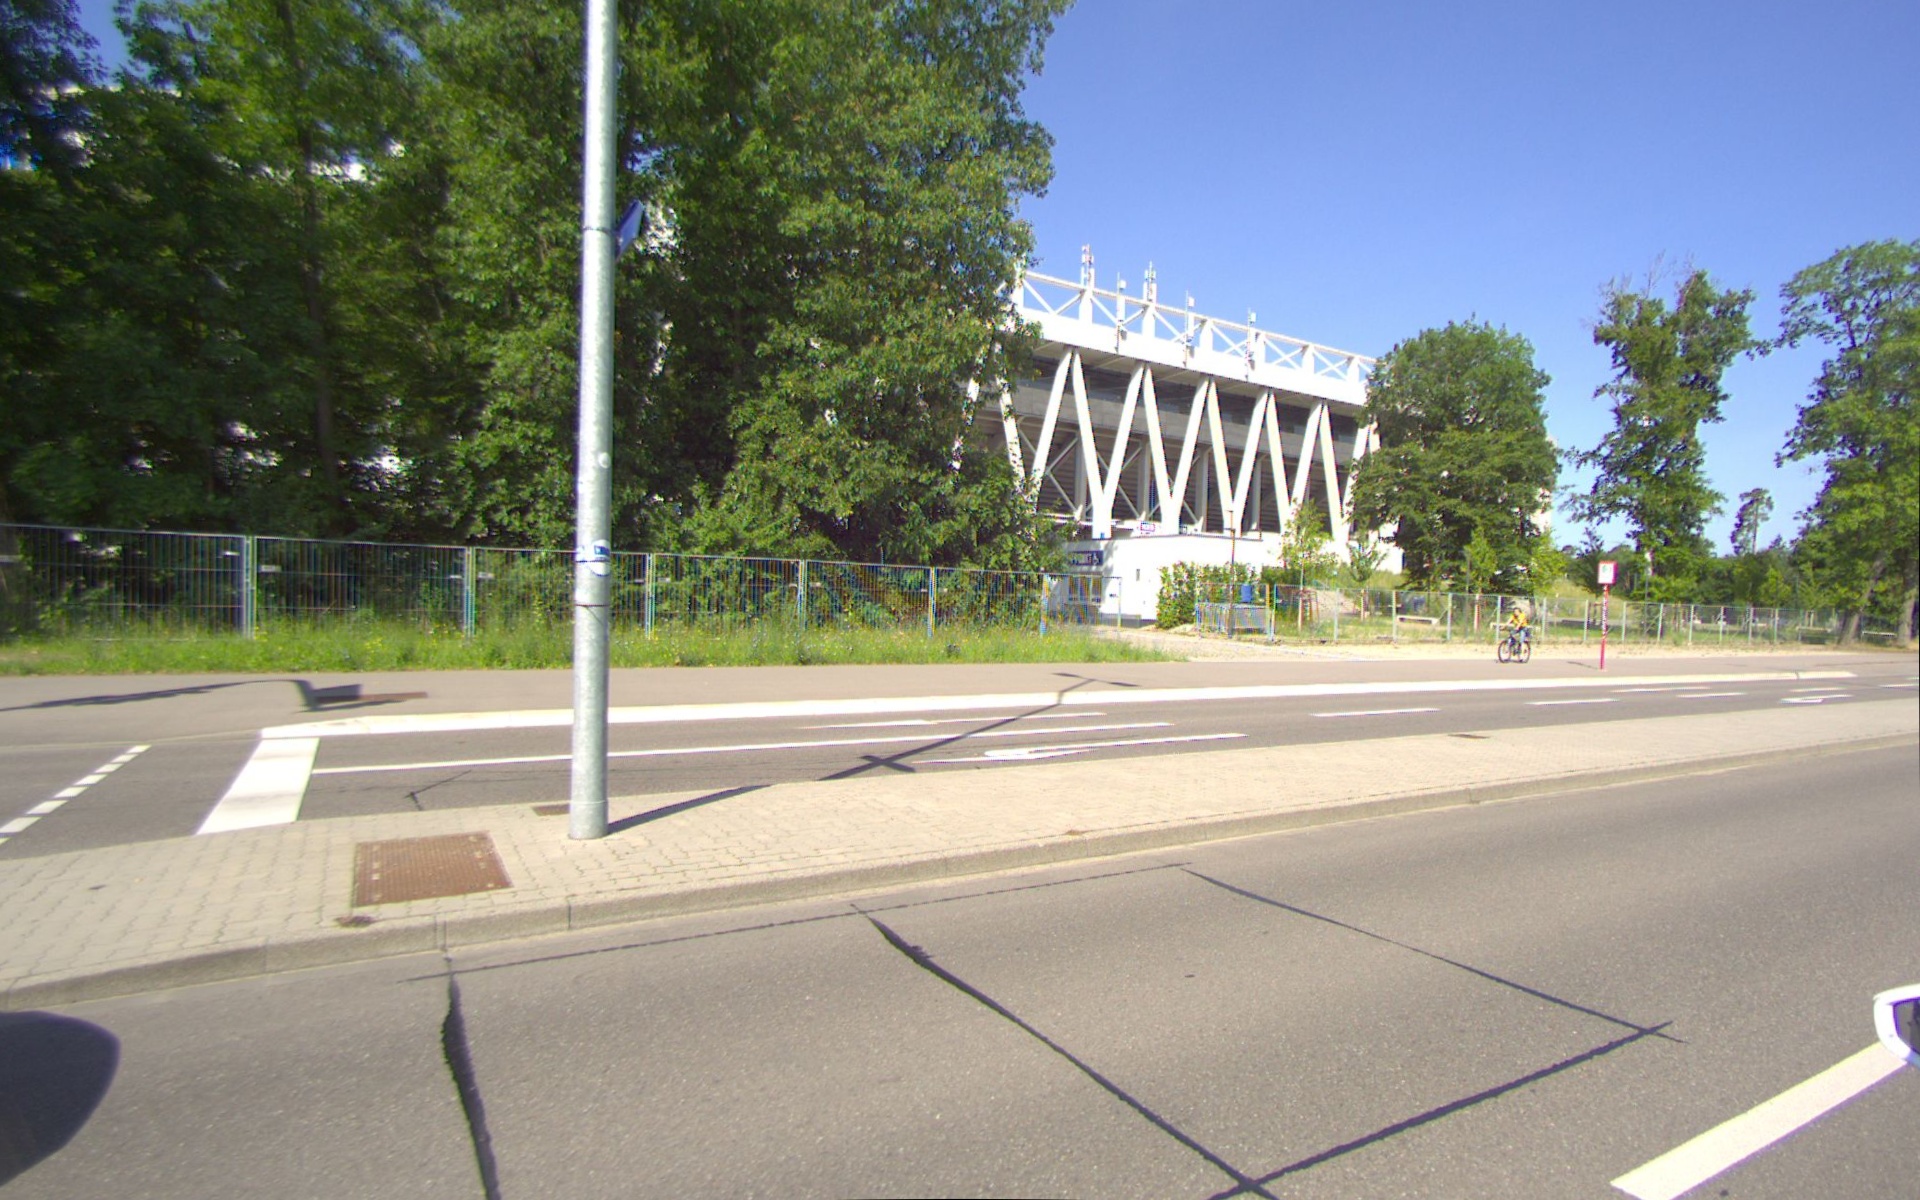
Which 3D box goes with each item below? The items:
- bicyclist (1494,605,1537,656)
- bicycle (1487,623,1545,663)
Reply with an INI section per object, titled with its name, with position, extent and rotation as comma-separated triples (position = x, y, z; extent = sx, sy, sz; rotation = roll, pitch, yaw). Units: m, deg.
[bicyclist]
position = 16.787, 0.927, 30.353
extent = 1.045, 1.487, 0.656
rotation = 1, 2, -31
[bicycle]
position = 16.847, 1.289, 30.419
extent = 1.857, 1.151, 0.656
rotation = 1, 2, -31
